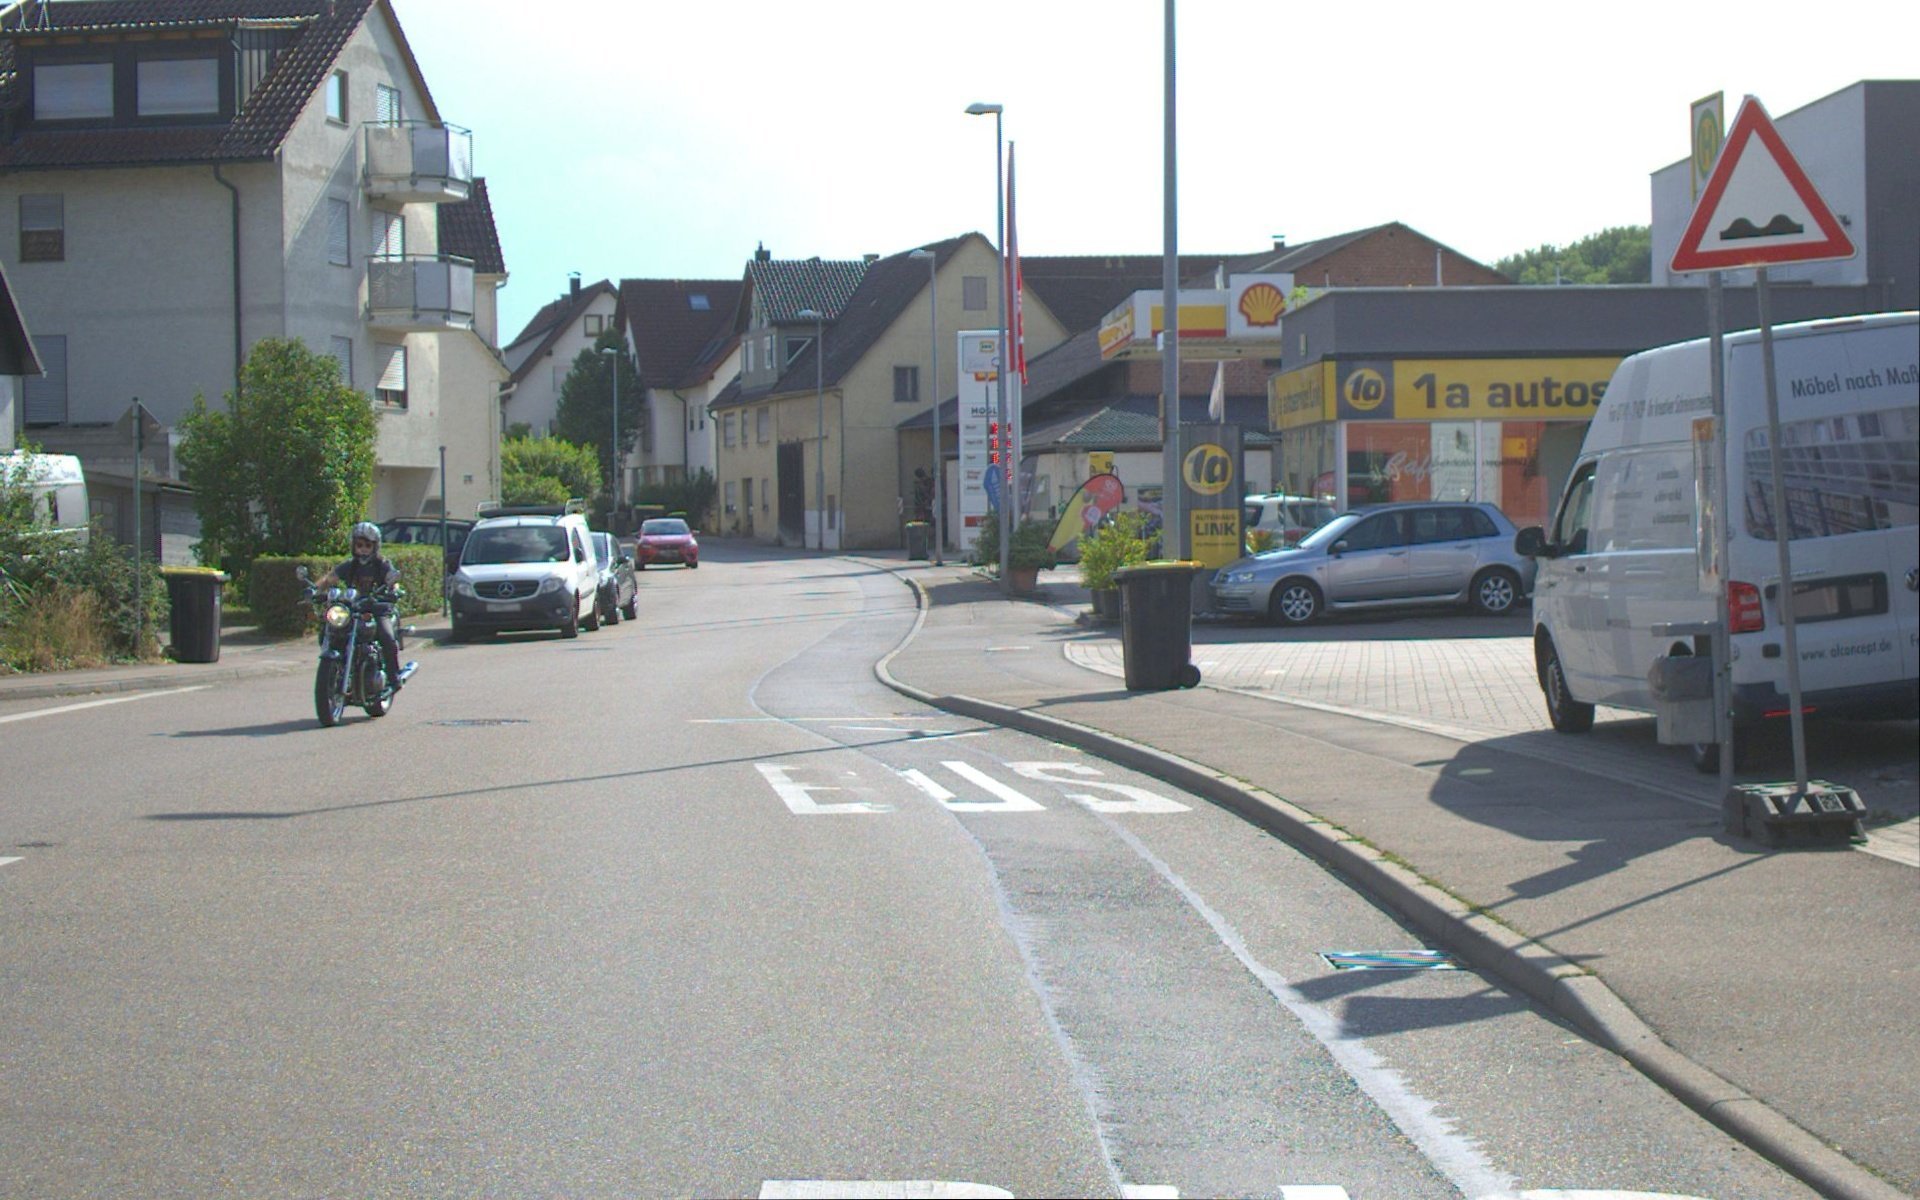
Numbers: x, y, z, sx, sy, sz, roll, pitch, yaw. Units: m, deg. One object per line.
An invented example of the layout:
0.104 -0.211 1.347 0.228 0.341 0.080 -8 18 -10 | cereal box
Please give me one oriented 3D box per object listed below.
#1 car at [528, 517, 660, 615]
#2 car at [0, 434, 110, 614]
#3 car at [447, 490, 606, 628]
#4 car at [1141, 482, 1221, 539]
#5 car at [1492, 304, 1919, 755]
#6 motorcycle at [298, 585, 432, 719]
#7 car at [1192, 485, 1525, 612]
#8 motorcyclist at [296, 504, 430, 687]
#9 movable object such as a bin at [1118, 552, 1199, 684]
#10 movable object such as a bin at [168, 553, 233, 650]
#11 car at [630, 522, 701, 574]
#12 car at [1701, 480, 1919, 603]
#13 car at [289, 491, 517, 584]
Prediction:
-5.880 -0.576 55.593 1.672 1.446 3.835 -2 2 0 | car
-14.705 -1.160 51.298 2.158 2.587 6.094 0 2 4 | car
-6.265 -0.634 50.109 1.716 1.866 4.192 -2 2 0 | car
5.711 -2.344 89.187 1.578 1.422 4.382 0 2 -3 | car
4.742 -0.449 20.806 1.836 2.366 5.179 -1 2 -4 | car
-4.760 0.397 27.609 0.524 1.009 2.027 1 1 6 | motorcycle
5.129 -0.685 44.434 3.986 1.526 1.528 -1 2 -9 | car
-4.767 -0.050 27.516 0.803 1.431 1.036 1 1 6 | motorcyclist
1.662 0.145 28.839 0.567 1.071 0.573 -2 2 -5 | movable object such as a bin
-8.658 0.017 39.191 0.611 1.097 0.576 0 0 0 | movable object such as a bin
-8.597 -1.523 100.077 1.708 1.430 3.781 -3 2 -9 | car
11.754 -0.782 44.464 3.904 1.462 1.717 -1 3 -4 | car
-10.911 -1.245 67.399 3.989 1.533 1.762 4 3 11 | car
